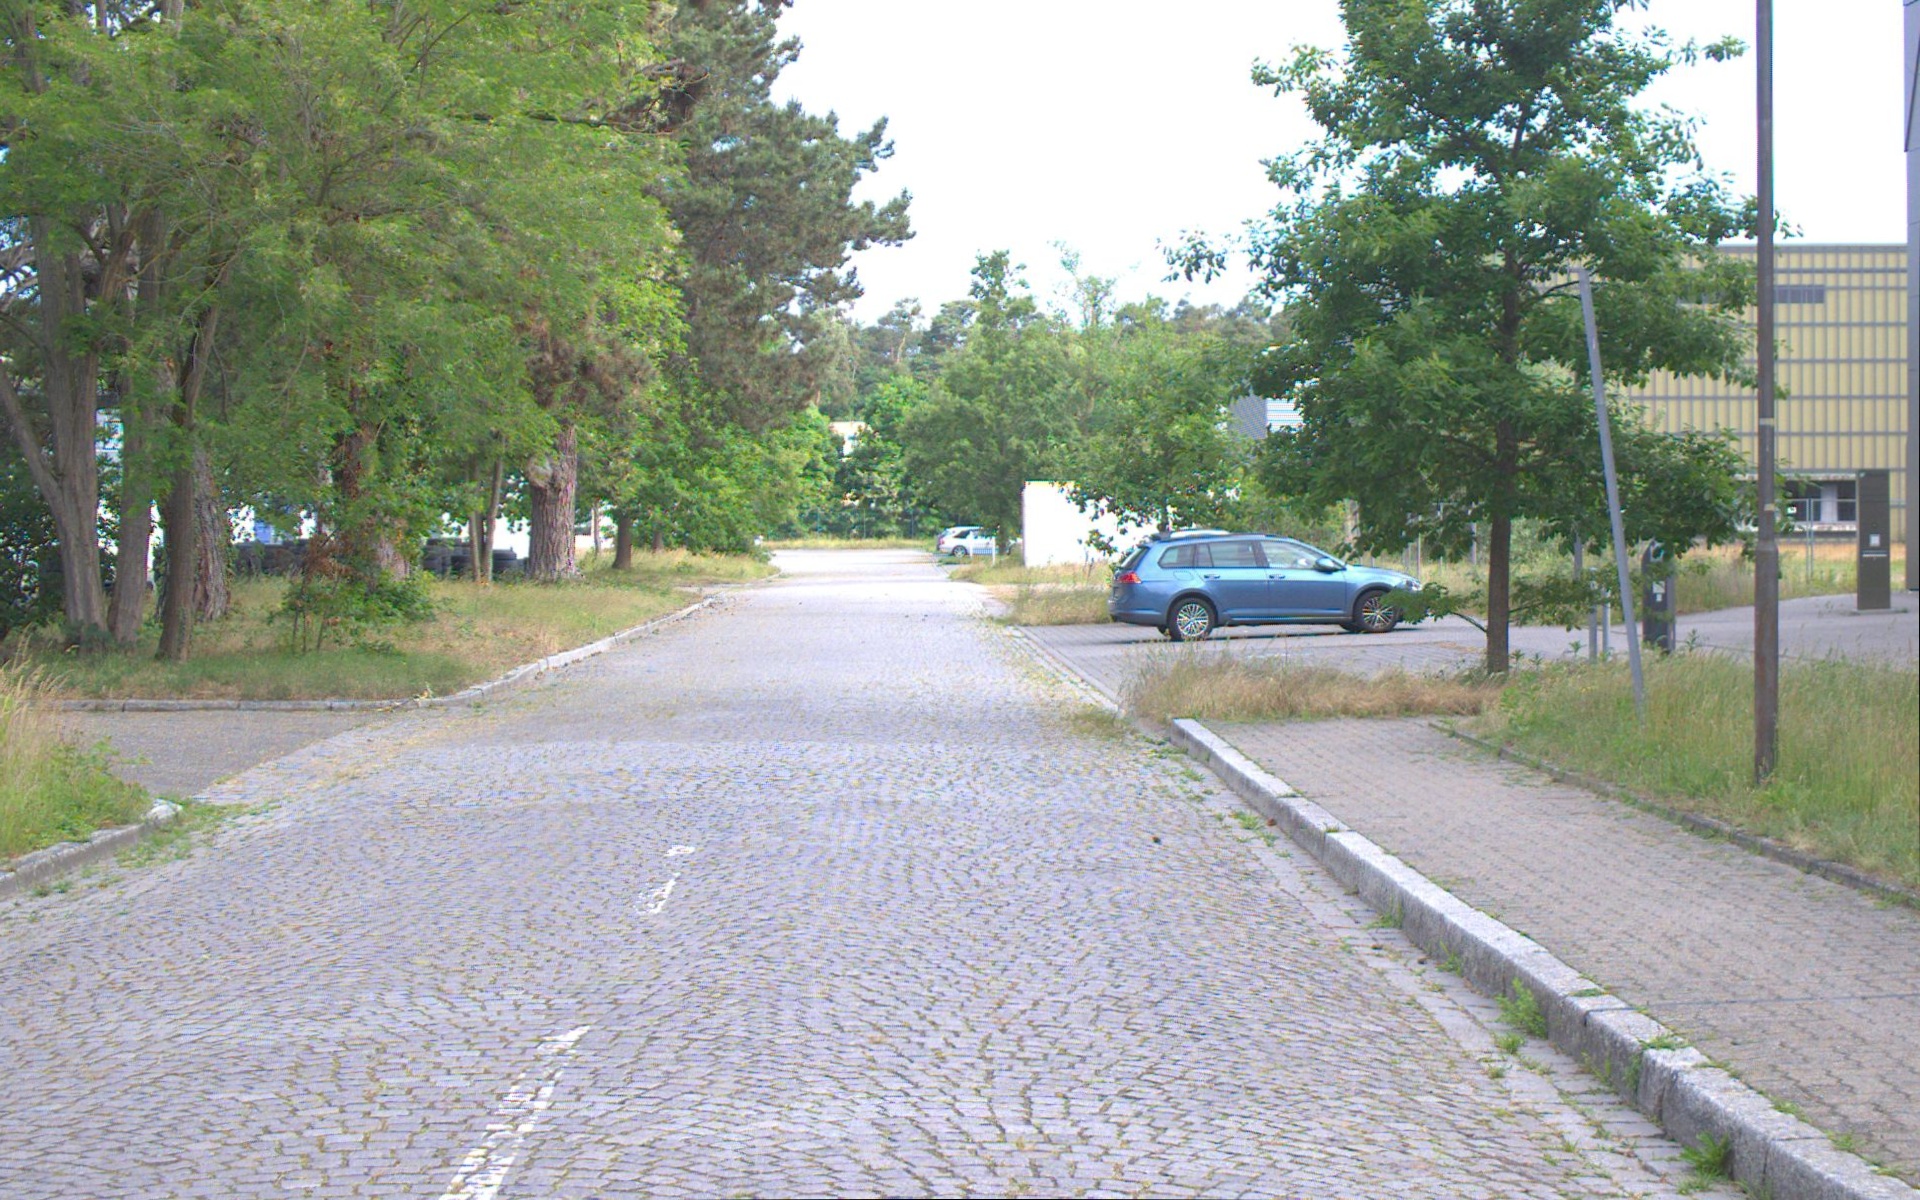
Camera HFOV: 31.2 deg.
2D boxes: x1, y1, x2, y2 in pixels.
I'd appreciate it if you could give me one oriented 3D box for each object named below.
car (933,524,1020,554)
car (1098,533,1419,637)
[{"bbox_3d":[0.769,-2.969,166.255,3.986,1.393,2.001,0,2,-7],"label":"car"},{"bbox_3d":[4.233,-0.230,49.232,4.343,1.417,2.000,0,2,-3],"label":"car"}]
